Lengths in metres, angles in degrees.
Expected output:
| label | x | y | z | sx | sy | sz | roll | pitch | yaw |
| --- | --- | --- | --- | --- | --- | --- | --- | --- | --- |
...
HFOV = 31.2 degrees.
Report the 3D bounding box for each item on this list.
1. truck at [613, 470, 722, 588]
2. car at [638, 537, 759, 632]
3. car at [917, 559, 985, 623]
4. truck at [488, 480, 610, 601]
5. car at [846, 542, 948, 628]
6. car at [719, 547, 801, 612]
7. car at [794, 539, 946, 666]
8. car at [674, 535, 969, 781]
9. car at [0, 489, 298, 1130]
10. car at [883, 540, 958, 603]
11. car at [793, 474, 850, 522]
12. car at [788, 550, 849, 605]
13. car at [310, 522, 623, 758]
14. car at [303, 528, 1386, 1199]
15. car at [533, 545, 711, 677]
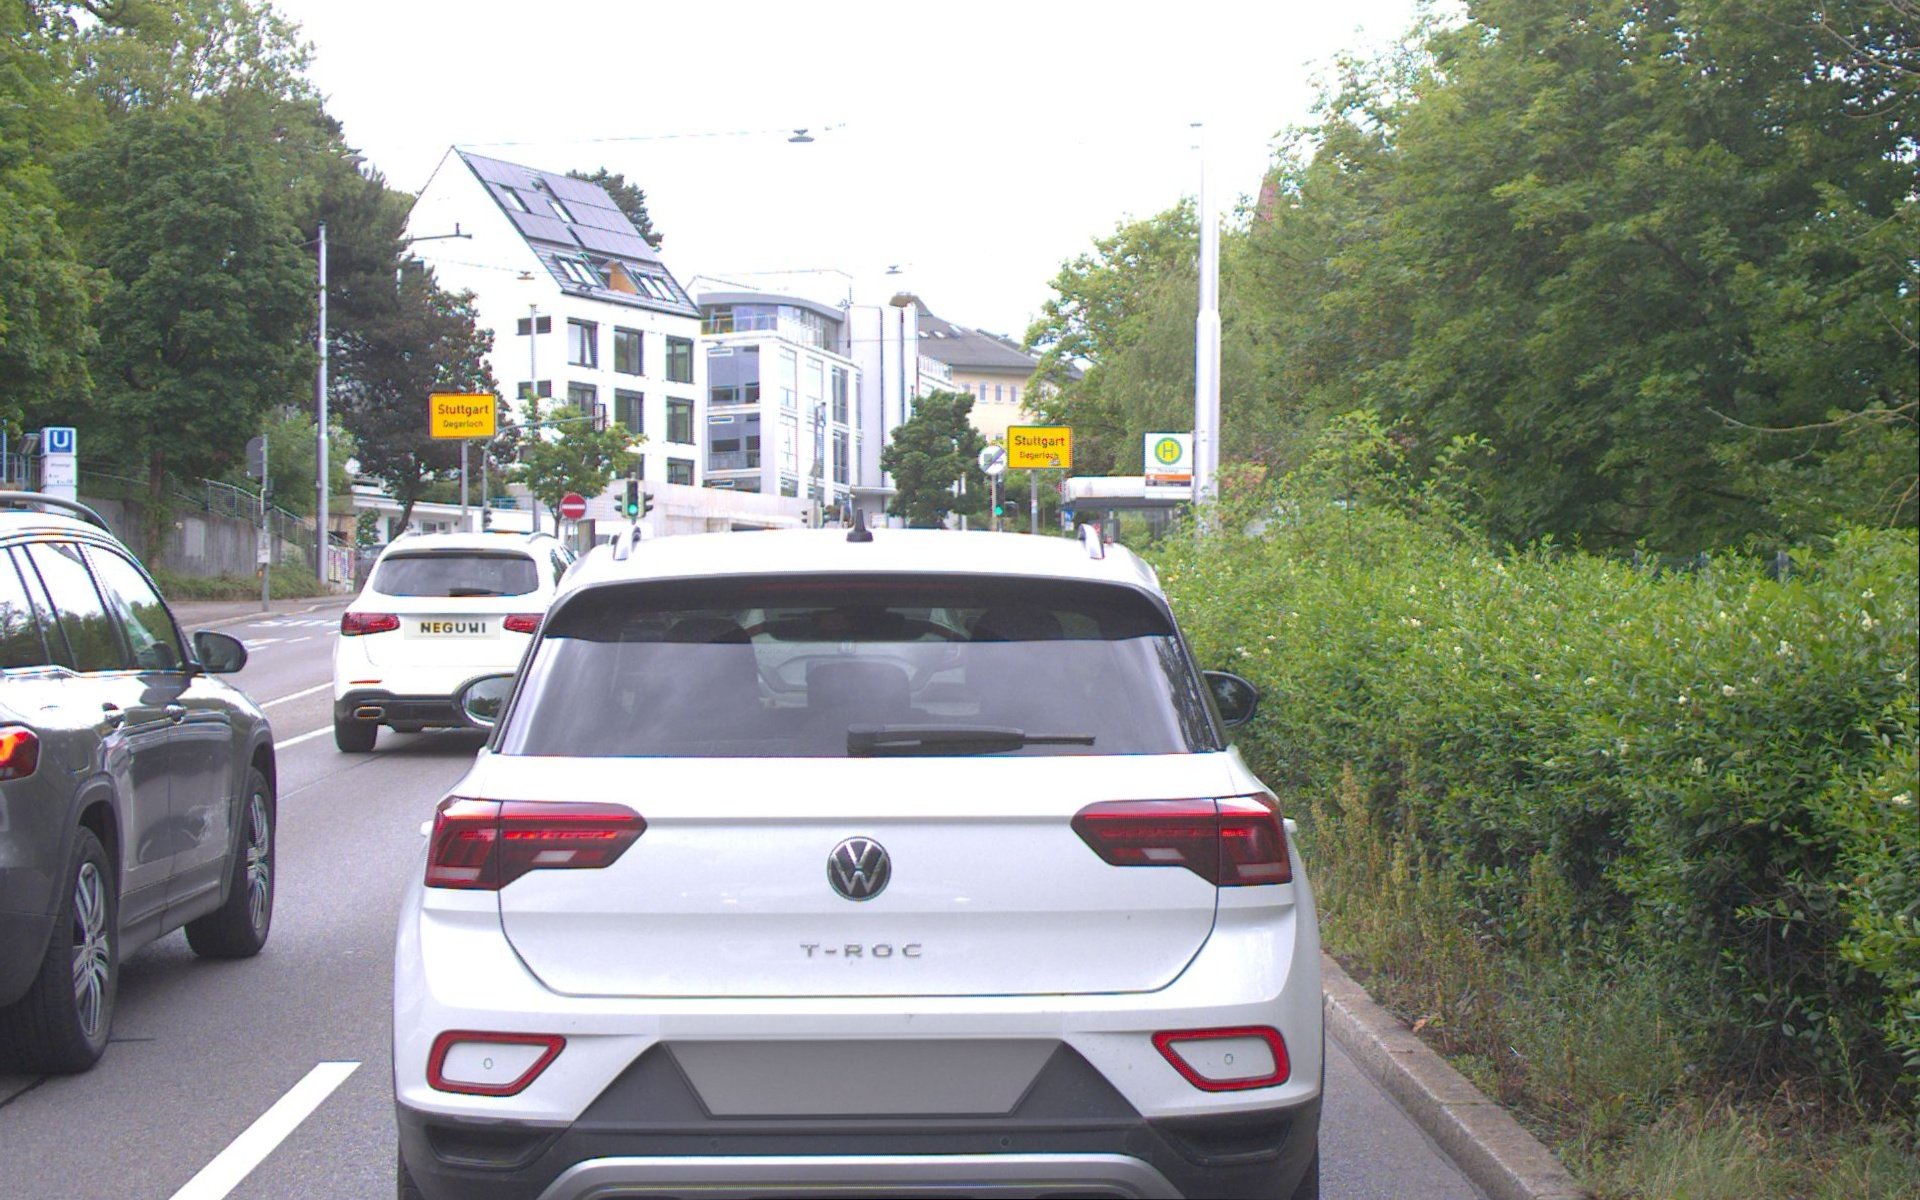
| label | x | y | z | sx | sy | sz | roll | pitch | yaw |
| --- | --- | --- | --- | --- | --- | --- | --- | --- | --- |
| truck | -7.222 | -1.761 | 85.274 | 2.362 | 2.772 | 4.478 | -2 | 1 | -1 |
| car | -4.397 | -0.289 | 58.306 | 1.829 | 1.520 | 4.000 | -1 | 1 | -1 |
| car | -0.302 | -0.297 | 110.423 | 1.993 | 1.963 | 4.001 | -1 | 1 | -2 |
| truck | -9.611 | -1.401 | 80.746 | 2.362 | 2.697 | 4.478 | -2 | 1 | -1 |
| car | -1.193 | -0.300 | 64.247 | 1.829 | 1.520 | 4.000 | -1 | 1 | -1 |
| car | -4.867 | -0.514 | 84.016 | 1.829 | 1.520 | 4.000 | -1 | 1 | -1 |
| car | -1.155 | -0.003 | 44.185 | 1.829 | 1.520 | 4.000 | -1 | 1 | -1 |
| car | -0.923 | 0.331 | 23.687 | 1.829 | 1.520 | 4.000 | -1 | 1 | -1 |
| car | -3.378 | 0.505 | 10.963 | 1.849 | 1.645 | 4.358 | 0 | 1 | -2 |
| car | -1.016 | -0.739 | 86.718 | 1.829 | 1.520 | 4.000 | -1 | 1 | -1 |
| car | -4.671 | -3.439 | 116.458 | 1.829 | 1.520 | 4.000 | -1 | 1 | -1 |
| car | -4.468 | -0.722 | 109.048 | 1.815 | 1.651 | 3.929 | -2 | 1 | -1 |
| car | -3.701 | 0.256 | 26.435 | 1.918 | 1.664 | 4.000 | 0 | 1 | -1 |
| car | -0.241 | 0.611 | 7.830 | 1.829 | 1.520 | 4.000 | 0 | 1 | -1 |
| car | -4.033 | 0.096 | 41.563 | 1.829 | 1.492 | 4.000 | -1 | 1 | -1 |
